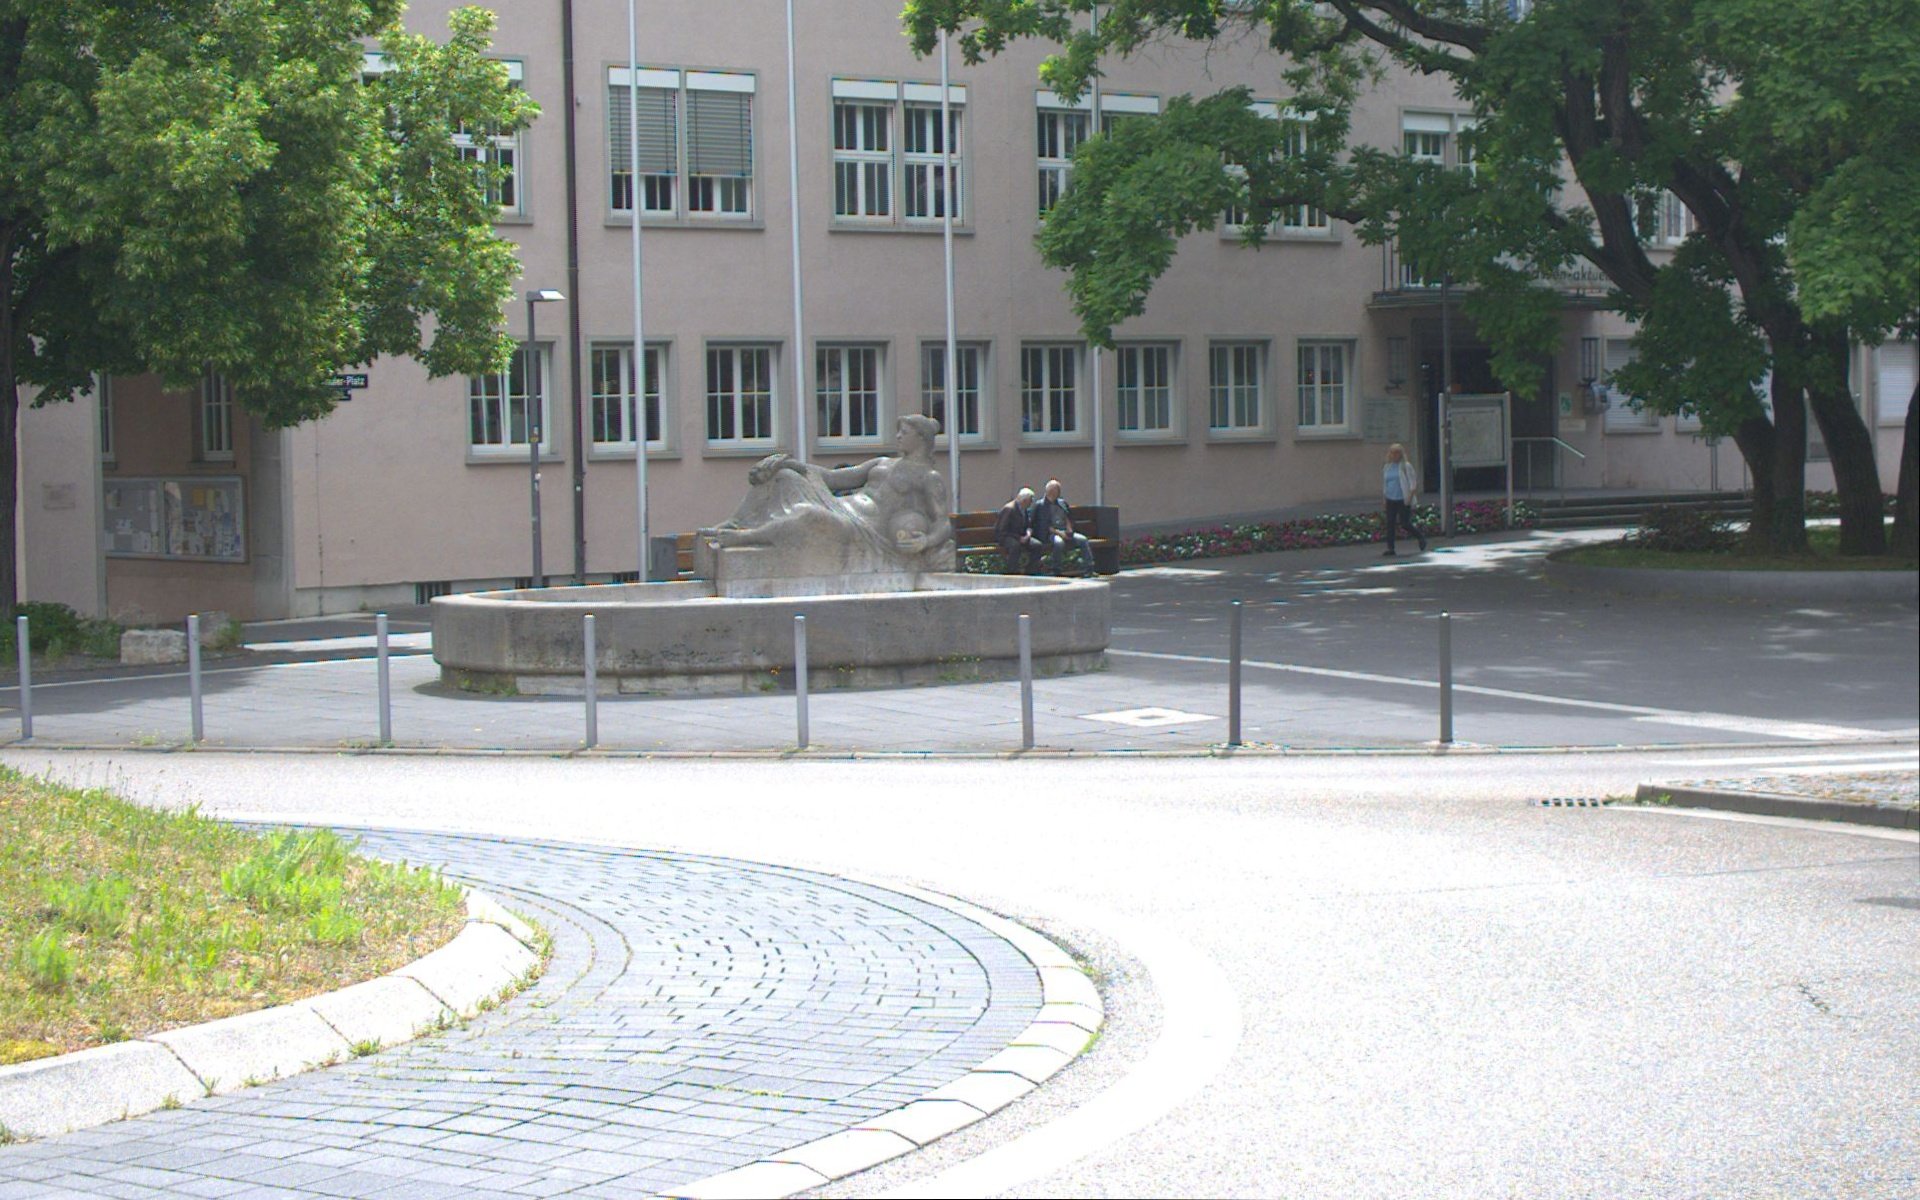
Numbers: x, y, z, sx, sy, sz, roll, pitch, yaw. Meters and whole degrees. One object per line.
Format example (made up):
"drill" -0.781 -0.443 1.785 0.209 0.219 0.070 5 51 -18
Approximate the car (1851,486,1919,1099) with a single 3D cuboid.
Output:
"car" 4.521 0.471 11.117 2.031 1.721 4.426 0 1 30

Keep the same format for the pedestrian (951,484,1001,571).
"pedestrian" 0.220 -0.983 46.482 0.487 1.158 0.580 1 1 22

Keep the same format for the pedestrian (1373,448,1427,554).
"pedestrian" 6.209 -1.400 48.557 0.698 1.487 0.815 0 1 4

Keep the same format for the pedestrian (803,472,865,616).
"pedestrian" -1.428 -0.642 38.983 0.572 1.603 0.438 0 5 -19

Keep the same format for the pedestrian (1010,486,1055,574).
"pedestrian" 0.973 -0.939 46.088 0.487 1.178 0.580 1 1 13

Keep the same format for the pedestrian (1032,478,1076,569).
"pedestrian" 1.279 -1.041 46.725 0.487 1.218 0.580 1 1 13
